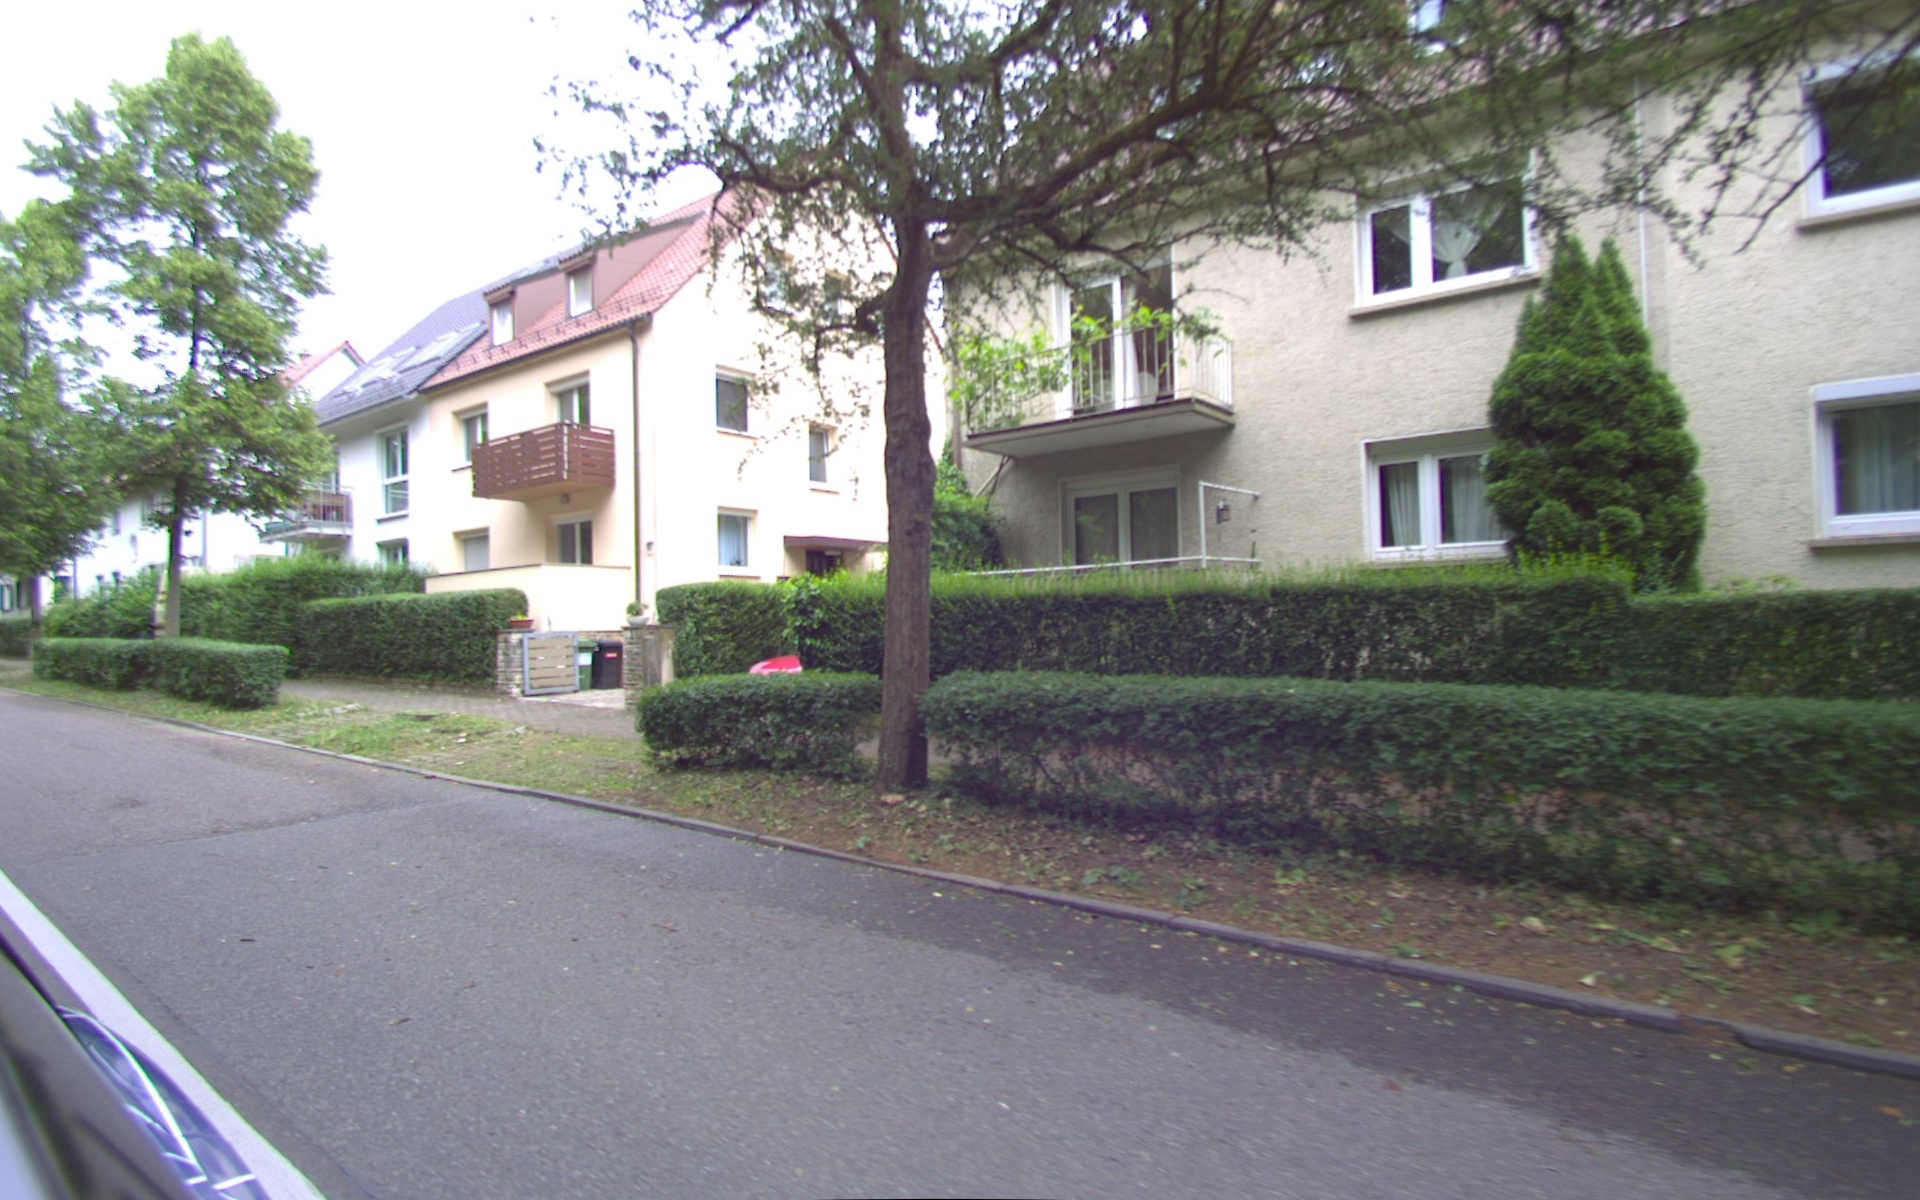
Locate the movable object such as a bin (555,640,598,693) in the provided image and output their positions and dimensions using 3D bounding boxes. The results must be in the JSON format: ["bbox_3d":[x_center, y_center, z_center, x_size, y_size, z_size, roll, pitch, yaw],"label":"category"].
[{"bbox_3d":[-6.879,1.186,18.172,0.569,0.918,0.484,-1,-2,35],"label":"movable object such as a bin"}]

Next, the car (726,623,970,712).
[{"bbox_3d":[-1.678,1.003,16.358,1.695,1.208,3.950,-1,-1,37],"label":"car"}]

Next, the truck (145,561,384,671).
[{"bbox_3d":[-21.802,0.487,31.982,2.513,3.155,5.745,-1,-1,36],"label":"truck"}]

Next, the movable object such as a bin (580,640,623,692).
[{"bbox_3d":[-6.584,1.202,18.587,0.569,0.918,0.484,-1,-2,35],"label":"movable object such as a bin"}]

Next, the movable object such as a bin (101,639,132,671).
[{"bbox_3d":[-25.056,1.630,30.053,0.692,0.933,0.574,-2,-3,39],"label":"movable object such as a bin"}]

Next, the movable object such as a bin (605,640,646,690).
[{"bbox_3d":[-6.278,1.211,19.021,0.569,0.918,0.484,-1,-2,35],"label":"movable object such as a bin"}]
